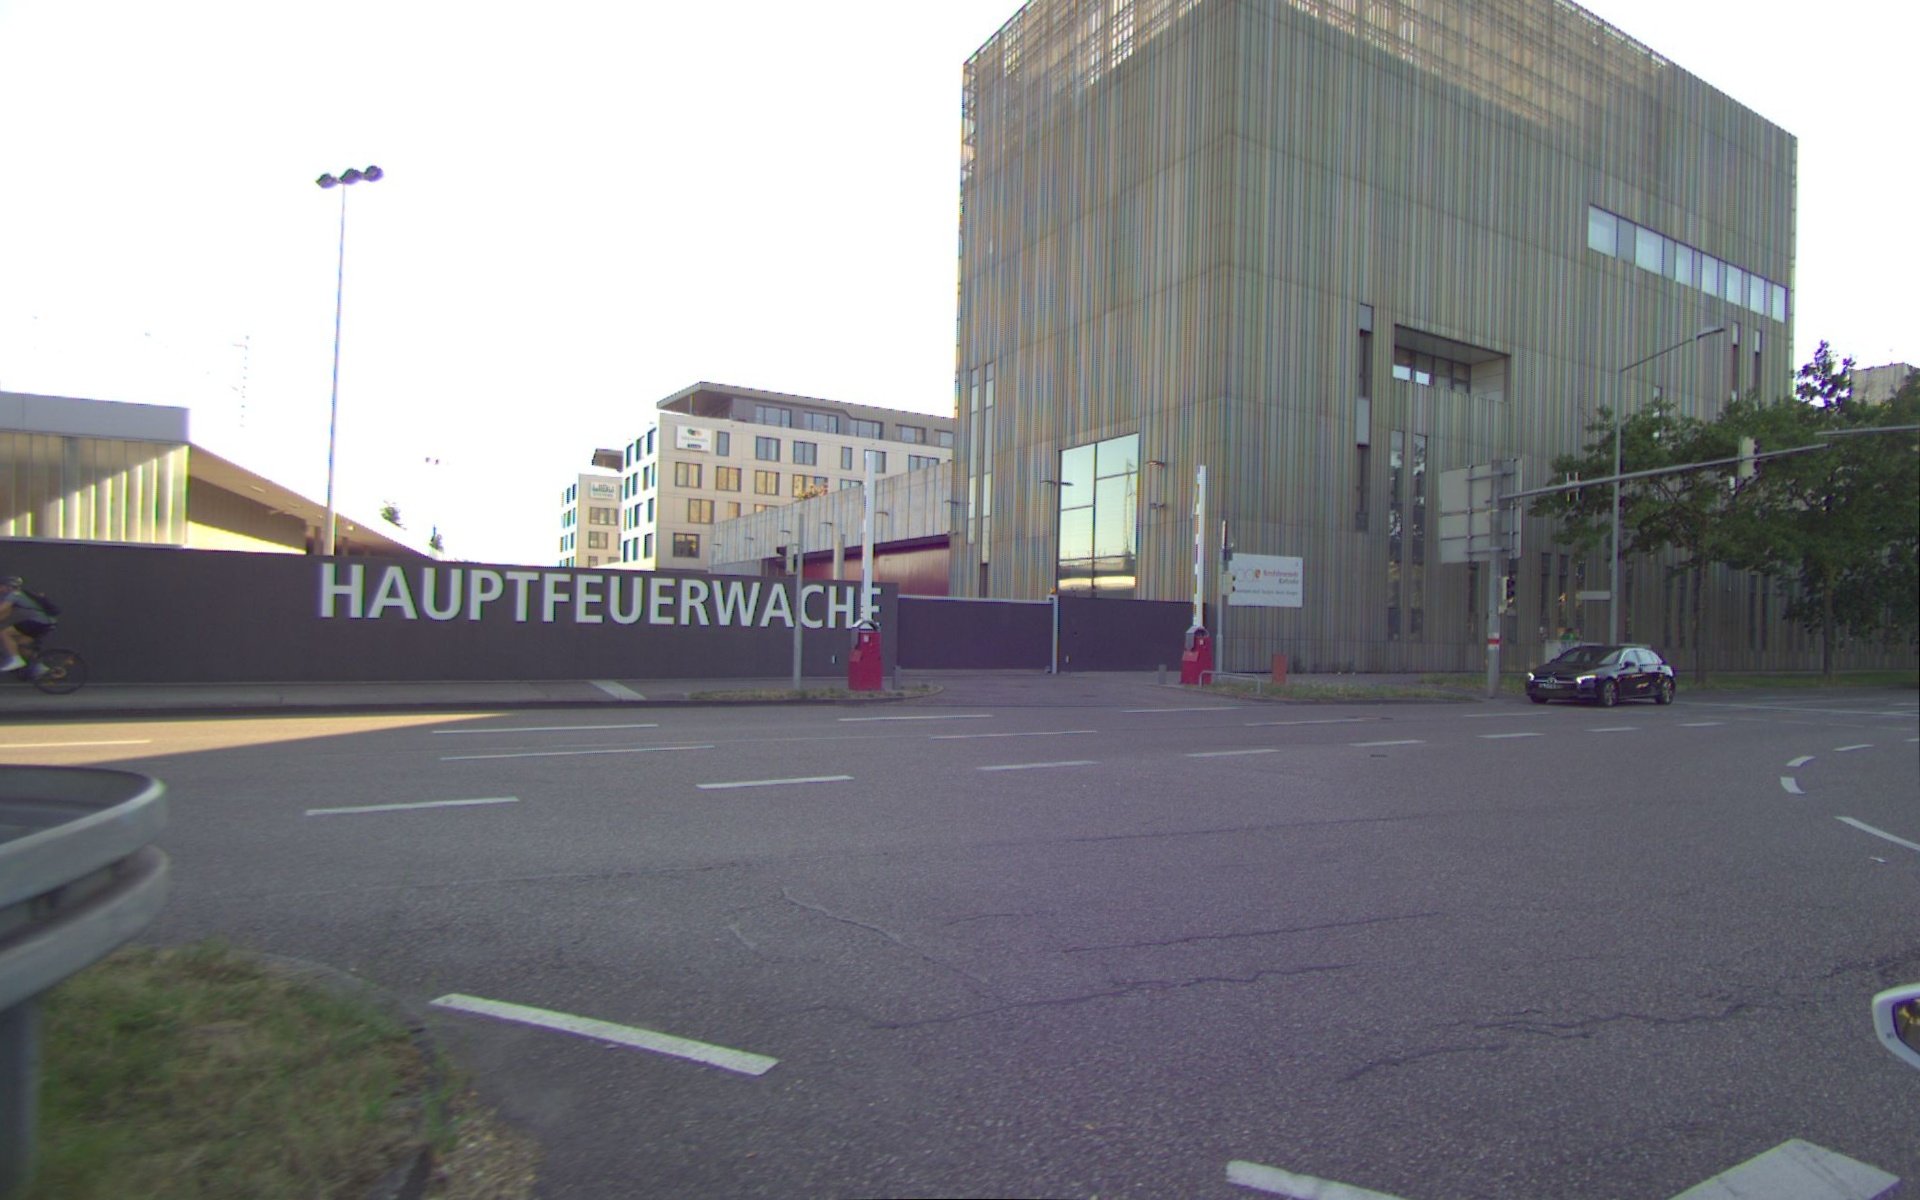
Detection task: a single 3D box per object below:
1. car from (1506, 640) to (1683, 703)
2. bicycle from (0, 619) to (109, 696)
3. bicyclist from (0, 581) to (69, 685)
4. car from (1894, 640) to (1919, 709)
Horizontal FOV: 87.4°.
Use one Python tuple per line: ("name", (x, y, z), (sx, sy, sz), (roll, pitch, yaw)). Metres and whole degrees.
("car", (15.690, 1.797, 24.795), (4.300, 1.418, 1.984), (3, -5, -31))
("bicycle", (-14.919, 0.897, 15.921), (2.053, 1.172, 0.702), (1, 1, -26))
("bicyclist", (-14.892, 0.516, 15.919), (0.927, 1.584, 0.722), (3, 0, -25))
("car", (23.084, 1.764, 22.583), (4.035, 1.495, 1.983), (3, 0, -31))
